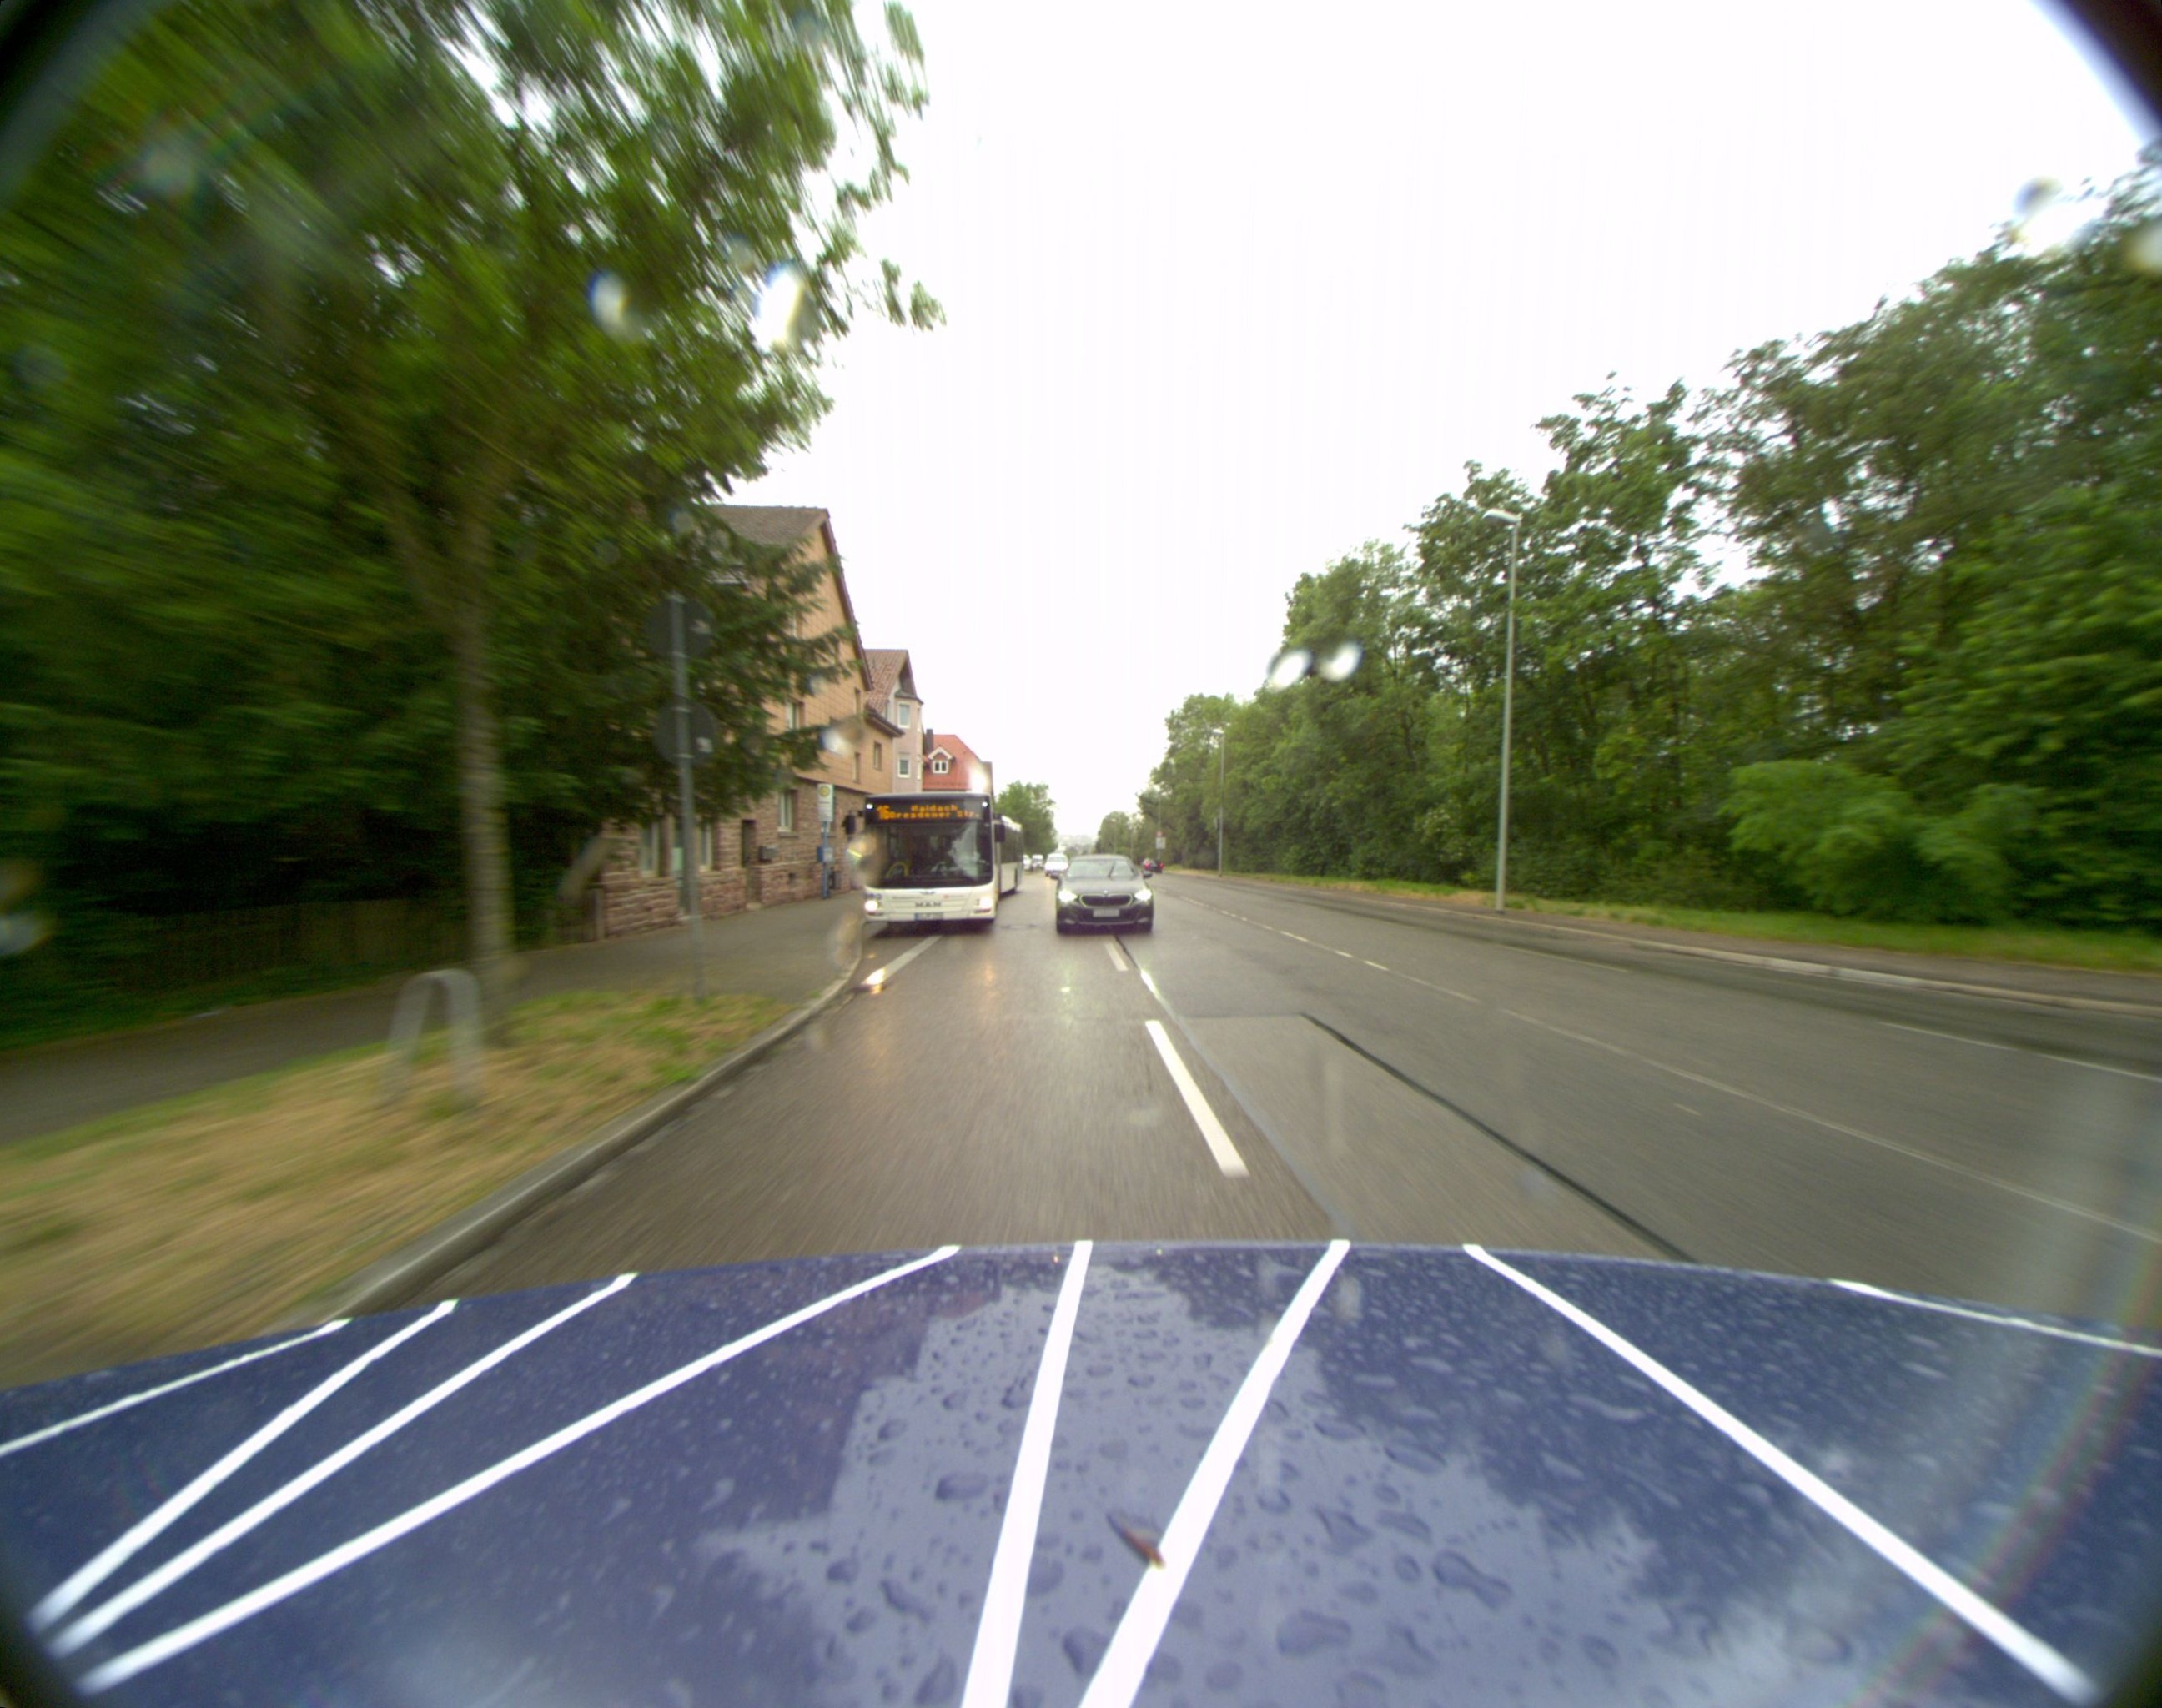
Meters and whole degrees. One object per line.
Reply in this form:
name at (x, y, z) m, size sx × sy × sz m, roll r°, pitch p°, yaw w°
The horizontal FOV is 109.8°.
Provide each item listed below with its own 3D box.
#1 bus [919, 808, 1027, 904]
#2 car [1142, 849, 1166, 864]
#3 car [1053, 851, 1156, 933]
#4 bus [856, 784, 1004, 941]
bus at (-3.643, 0.025, 27.786) m, size 2.561 × 2.942 × 8.557 m, roll -1°, pitch 1°, yaw 1°
car at (7.179, 0.218, 74.945) m, size 1.749 × 1.423 × 4.387 m, roll 2°, pitch 1°, yaw -2°
car at (0.375, 0.686, 16.189) m, size 1.856 × 1.461 × 4.482 m, roll -1°, pitch 1°, yaw -2°
bus at (-3.302, 0.106, 18.996) m, size 2.564 × 2.942 × 9.444 m, roll -1°, pitch 1°, yaw -5°
